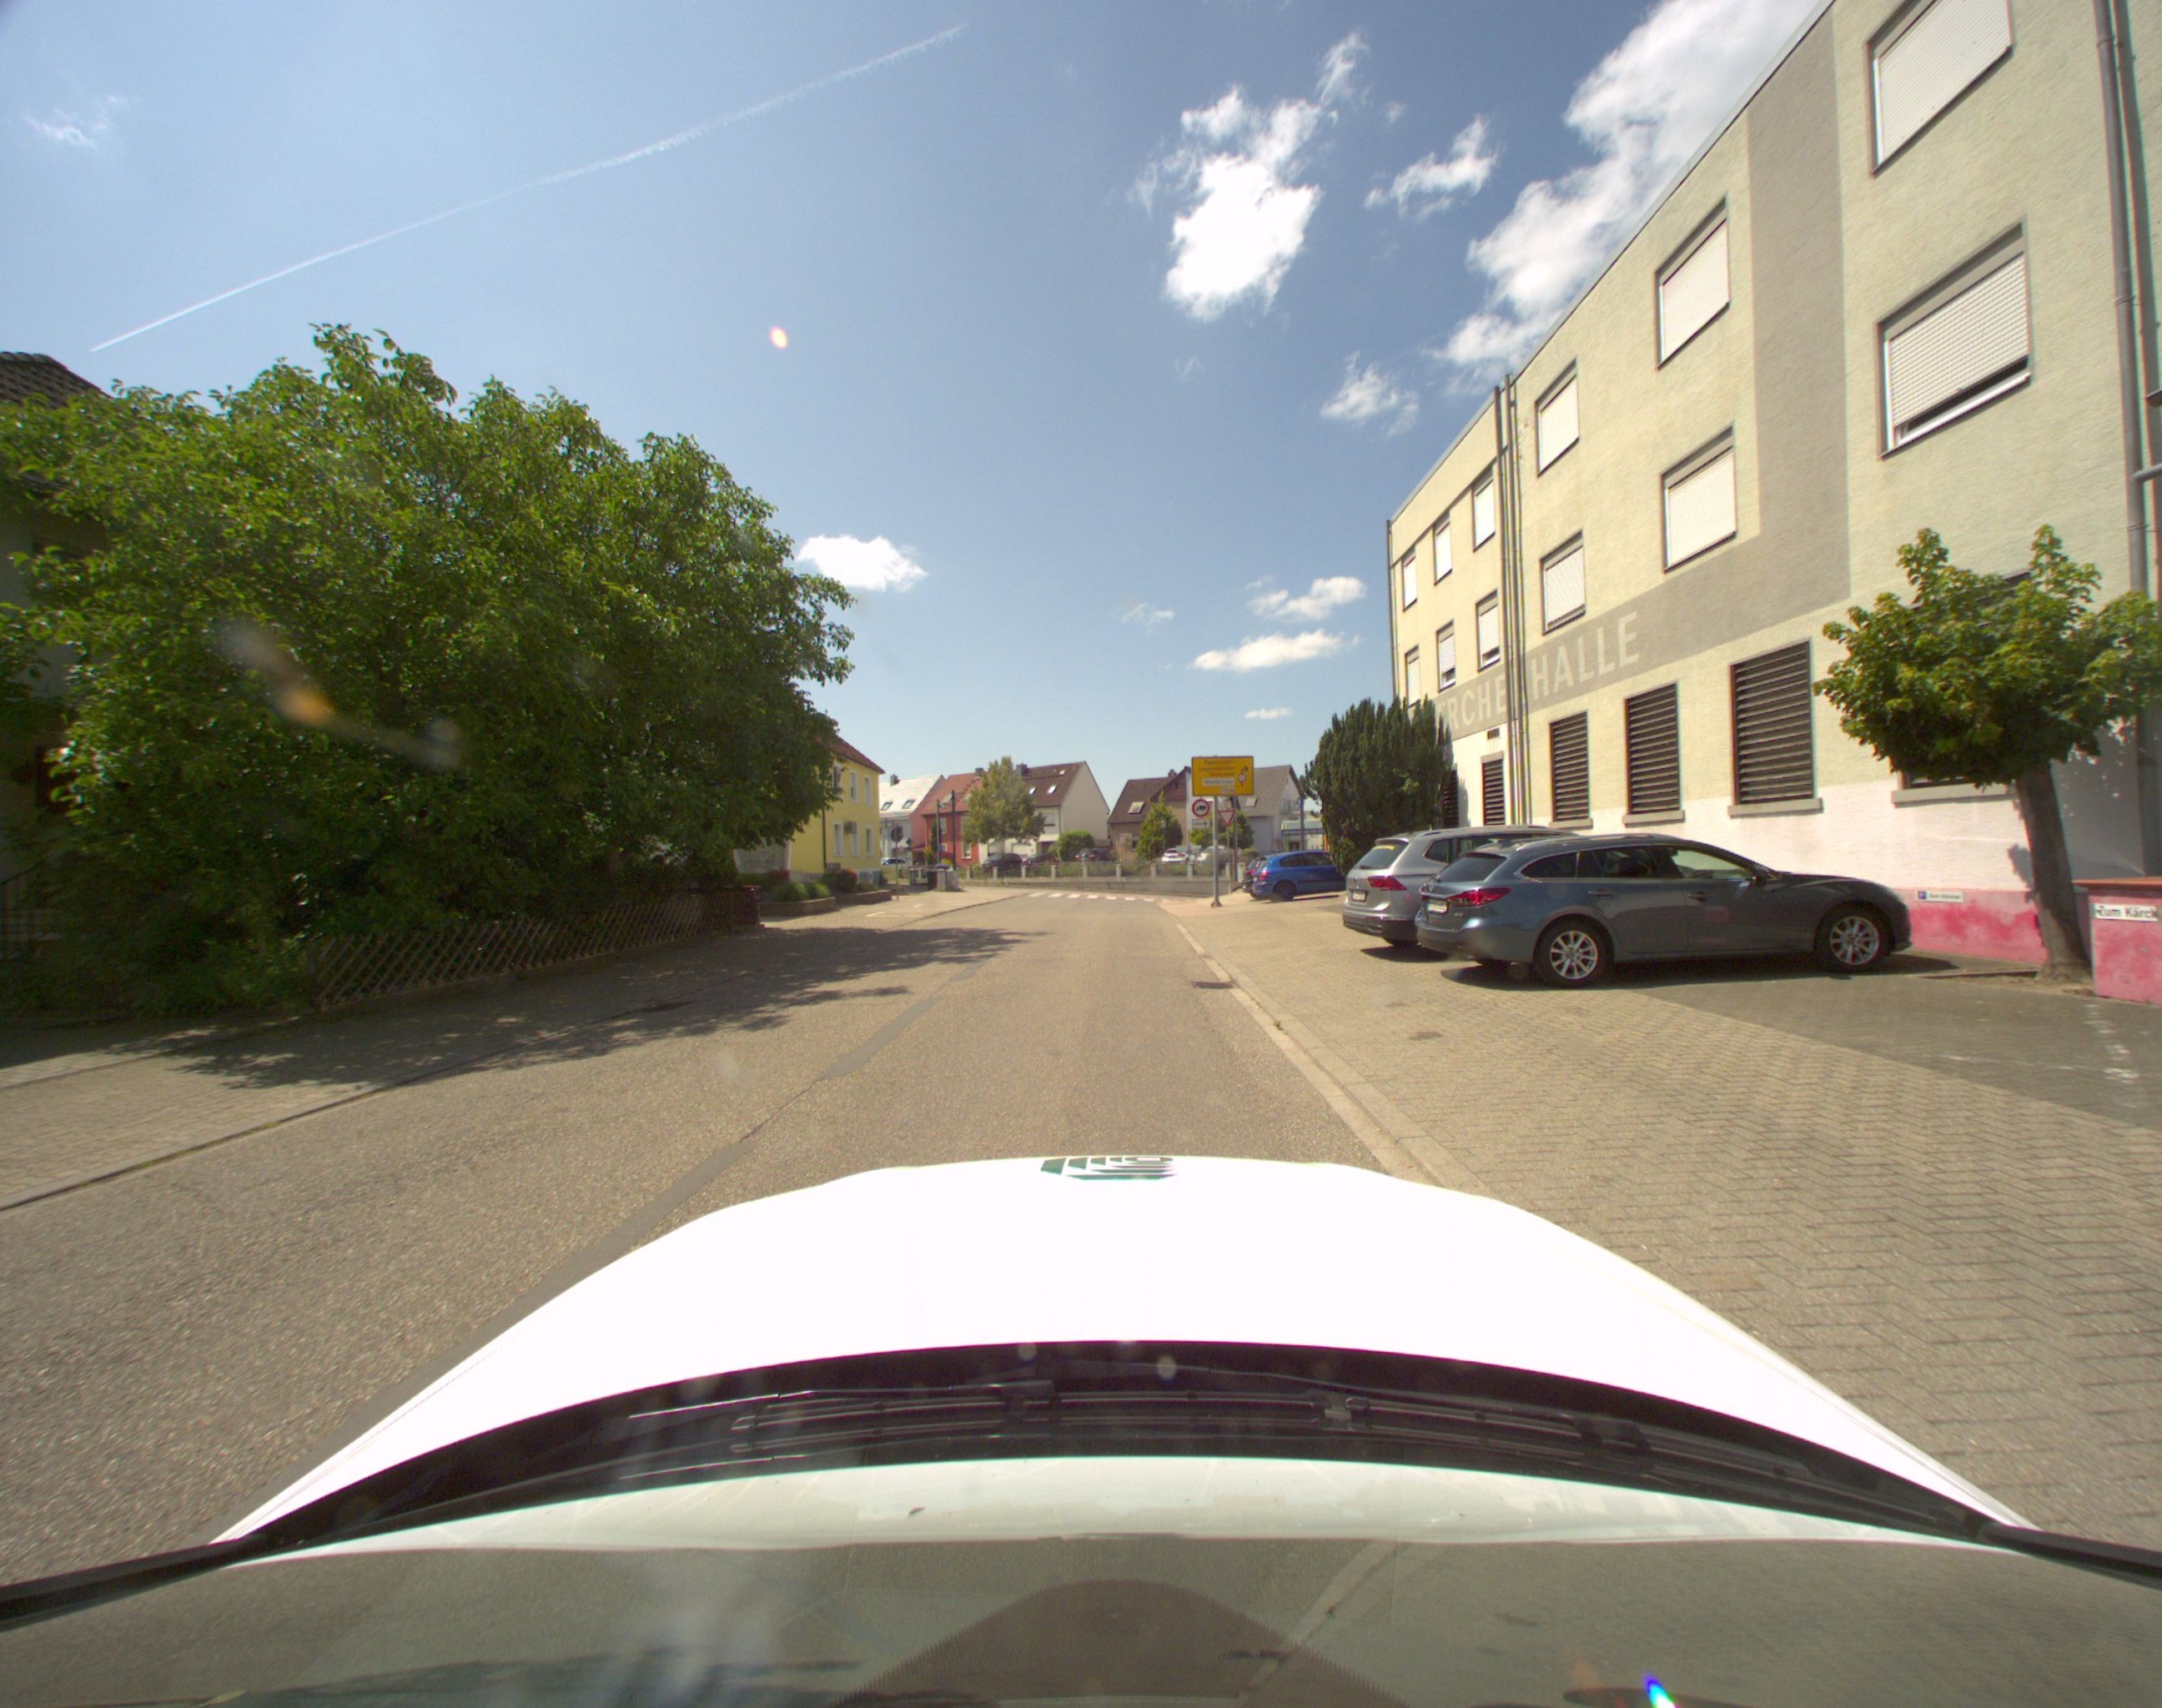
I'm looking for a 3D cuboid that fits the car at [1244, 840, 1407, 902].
[{"bbox_3d":[7.279,0.546,24.542,4.308,1.440,1.779,-5,-3,0],"label":"car"}]

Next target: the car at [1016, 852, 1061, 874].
[{"bbox_3d":[-3.316,0.708,63.818,1.850,1.586,3.631,3,-1,28],"label":"car"}]

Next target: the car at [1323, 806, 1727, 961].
[{"bbox_3d":[5.849,0.375,11.165,4.439,1.697,1.922,-3,0,-1],"label":"car"}]

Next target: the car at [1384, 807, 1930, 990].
[{"bbox_3d":[5.943,0.435,8.887,4.485,1.520,2.000,-3,0,1],"label":"car"}]

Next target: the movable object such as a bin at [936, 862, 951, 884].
[{"bbox_3d":[-7.978,1.094,47.272,0.840,1.213,1.272,0,-1,-11],"label":"movable object such as a bin"}]

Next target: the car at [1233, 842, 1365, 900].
[{"bbox_3d":[7.372,0.592,27.807,3.883,1.490,1.809,-7,-2,-1],"label":"car"}]

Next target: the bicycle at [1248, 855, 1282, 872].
[{"bbox_3d":[11.766,0.611,52.037,2.096,1.126,0.335,-1,-1,22],"label":"bicycle"}]

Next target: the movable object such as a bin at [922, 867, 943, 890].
[{"bbox_3d":[-8.006,1.312,43.900,0.881,1.225,0.903,0,-1,4],"label":"movable object such as a bin"}]

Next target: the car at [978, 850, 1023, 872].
[{"bbox_3d":[-6.460,0.612,65.920,1.850,1.586,3.631,3,-1,28],"label":"car"}]

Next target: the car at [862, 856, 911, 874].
[{"bbox_3d":[-17.928,1.059,75.247,1.725,1.488,4.283,3,-1,35],"label":"car"}]

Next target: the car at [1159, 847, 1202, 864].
[{"bbox_3d":[7.108,0.146,57.858,1.808,1.020,3.479,3,-1,28],"label":"car"}]

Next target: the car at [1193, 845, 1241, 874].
[{"bbox_3d":[9.506,0.387,56.784,1.975,1.797,4.221,3,-1,28],"label":"car"}]

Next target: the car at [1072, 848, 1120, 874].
[{"bbox_3d":[1.175,0.550,61.714,1.850,1.797,4.023,3,-1,28],"label":"car"}]
